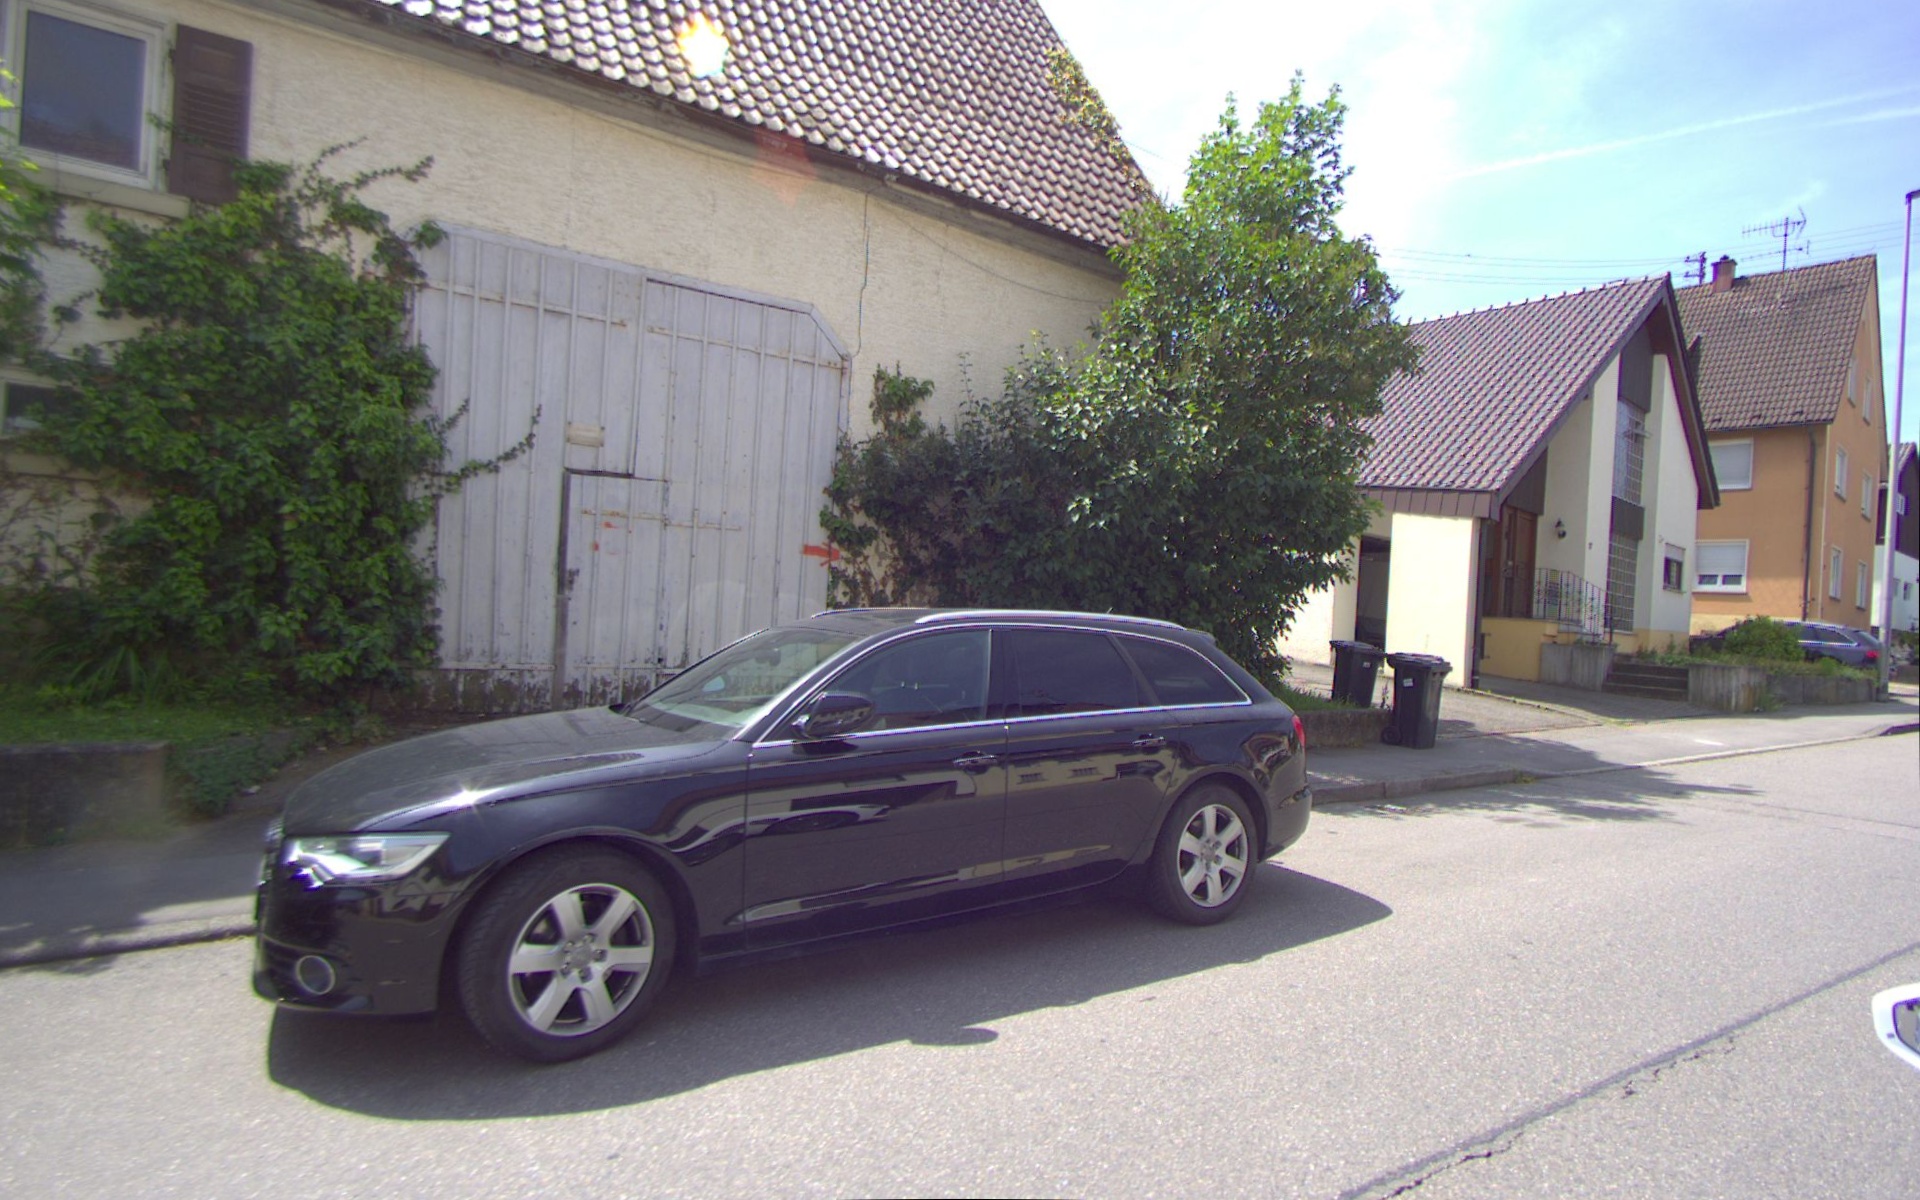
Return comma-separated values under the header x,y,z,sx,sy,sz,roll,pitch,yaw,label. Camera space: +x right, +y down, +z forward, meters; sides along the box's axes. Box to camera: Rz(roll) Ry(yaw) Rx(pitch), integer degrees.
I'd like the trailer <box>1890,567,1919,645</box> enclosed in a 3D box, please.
x,y,z,sx,sy,sz,roll,pitch,yaw,label
38.085,0.322,39.220,6.122,2.886,1.698,2,0,-39,trailer

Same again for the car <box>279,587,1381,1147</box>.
x,y,z,sx,sy,sz,roll,pitch,yaw,label
-0.283,0.761,4.724,4.723,1.493,1.809,1,-1,-32,car

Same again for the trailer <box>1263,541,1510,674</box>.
x,y,z,sx,sy,sz,roll,pitch,yaw,label
8.202,0.081,19.608,1.981,2.040,3.804,2,6,-36,trailer

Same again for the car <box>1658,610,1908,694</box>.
x,y,z,sx,sy,sz,roll,pitch,yaw,label
19.186,1.146,23.568,1.806,1.424,4.193,1,4,-39,car

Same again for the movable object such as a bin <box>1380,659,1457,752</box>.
x,y,z,sx,sy,sz,roll,pitch,yaw,label
4.877,1.107,10.685,0.580,0.914,0.497,3,0,-37,movable object such as a bin

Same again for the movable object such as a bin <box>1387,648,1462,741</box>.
x,y,z,sx,sy,sz,roll,pitch,yaw,label
5.250,1.054,11.363,0.522,0.951,0.470,2,6,-35,movable object such as a bin

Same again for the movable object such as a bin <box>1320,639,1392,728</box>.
x,y,z,sx,sy,sz,roll,pitch,yaw,label
4.663,0.974,11.840,0.520,0.961,0.497,2,6,-37,movable object such as a bin
